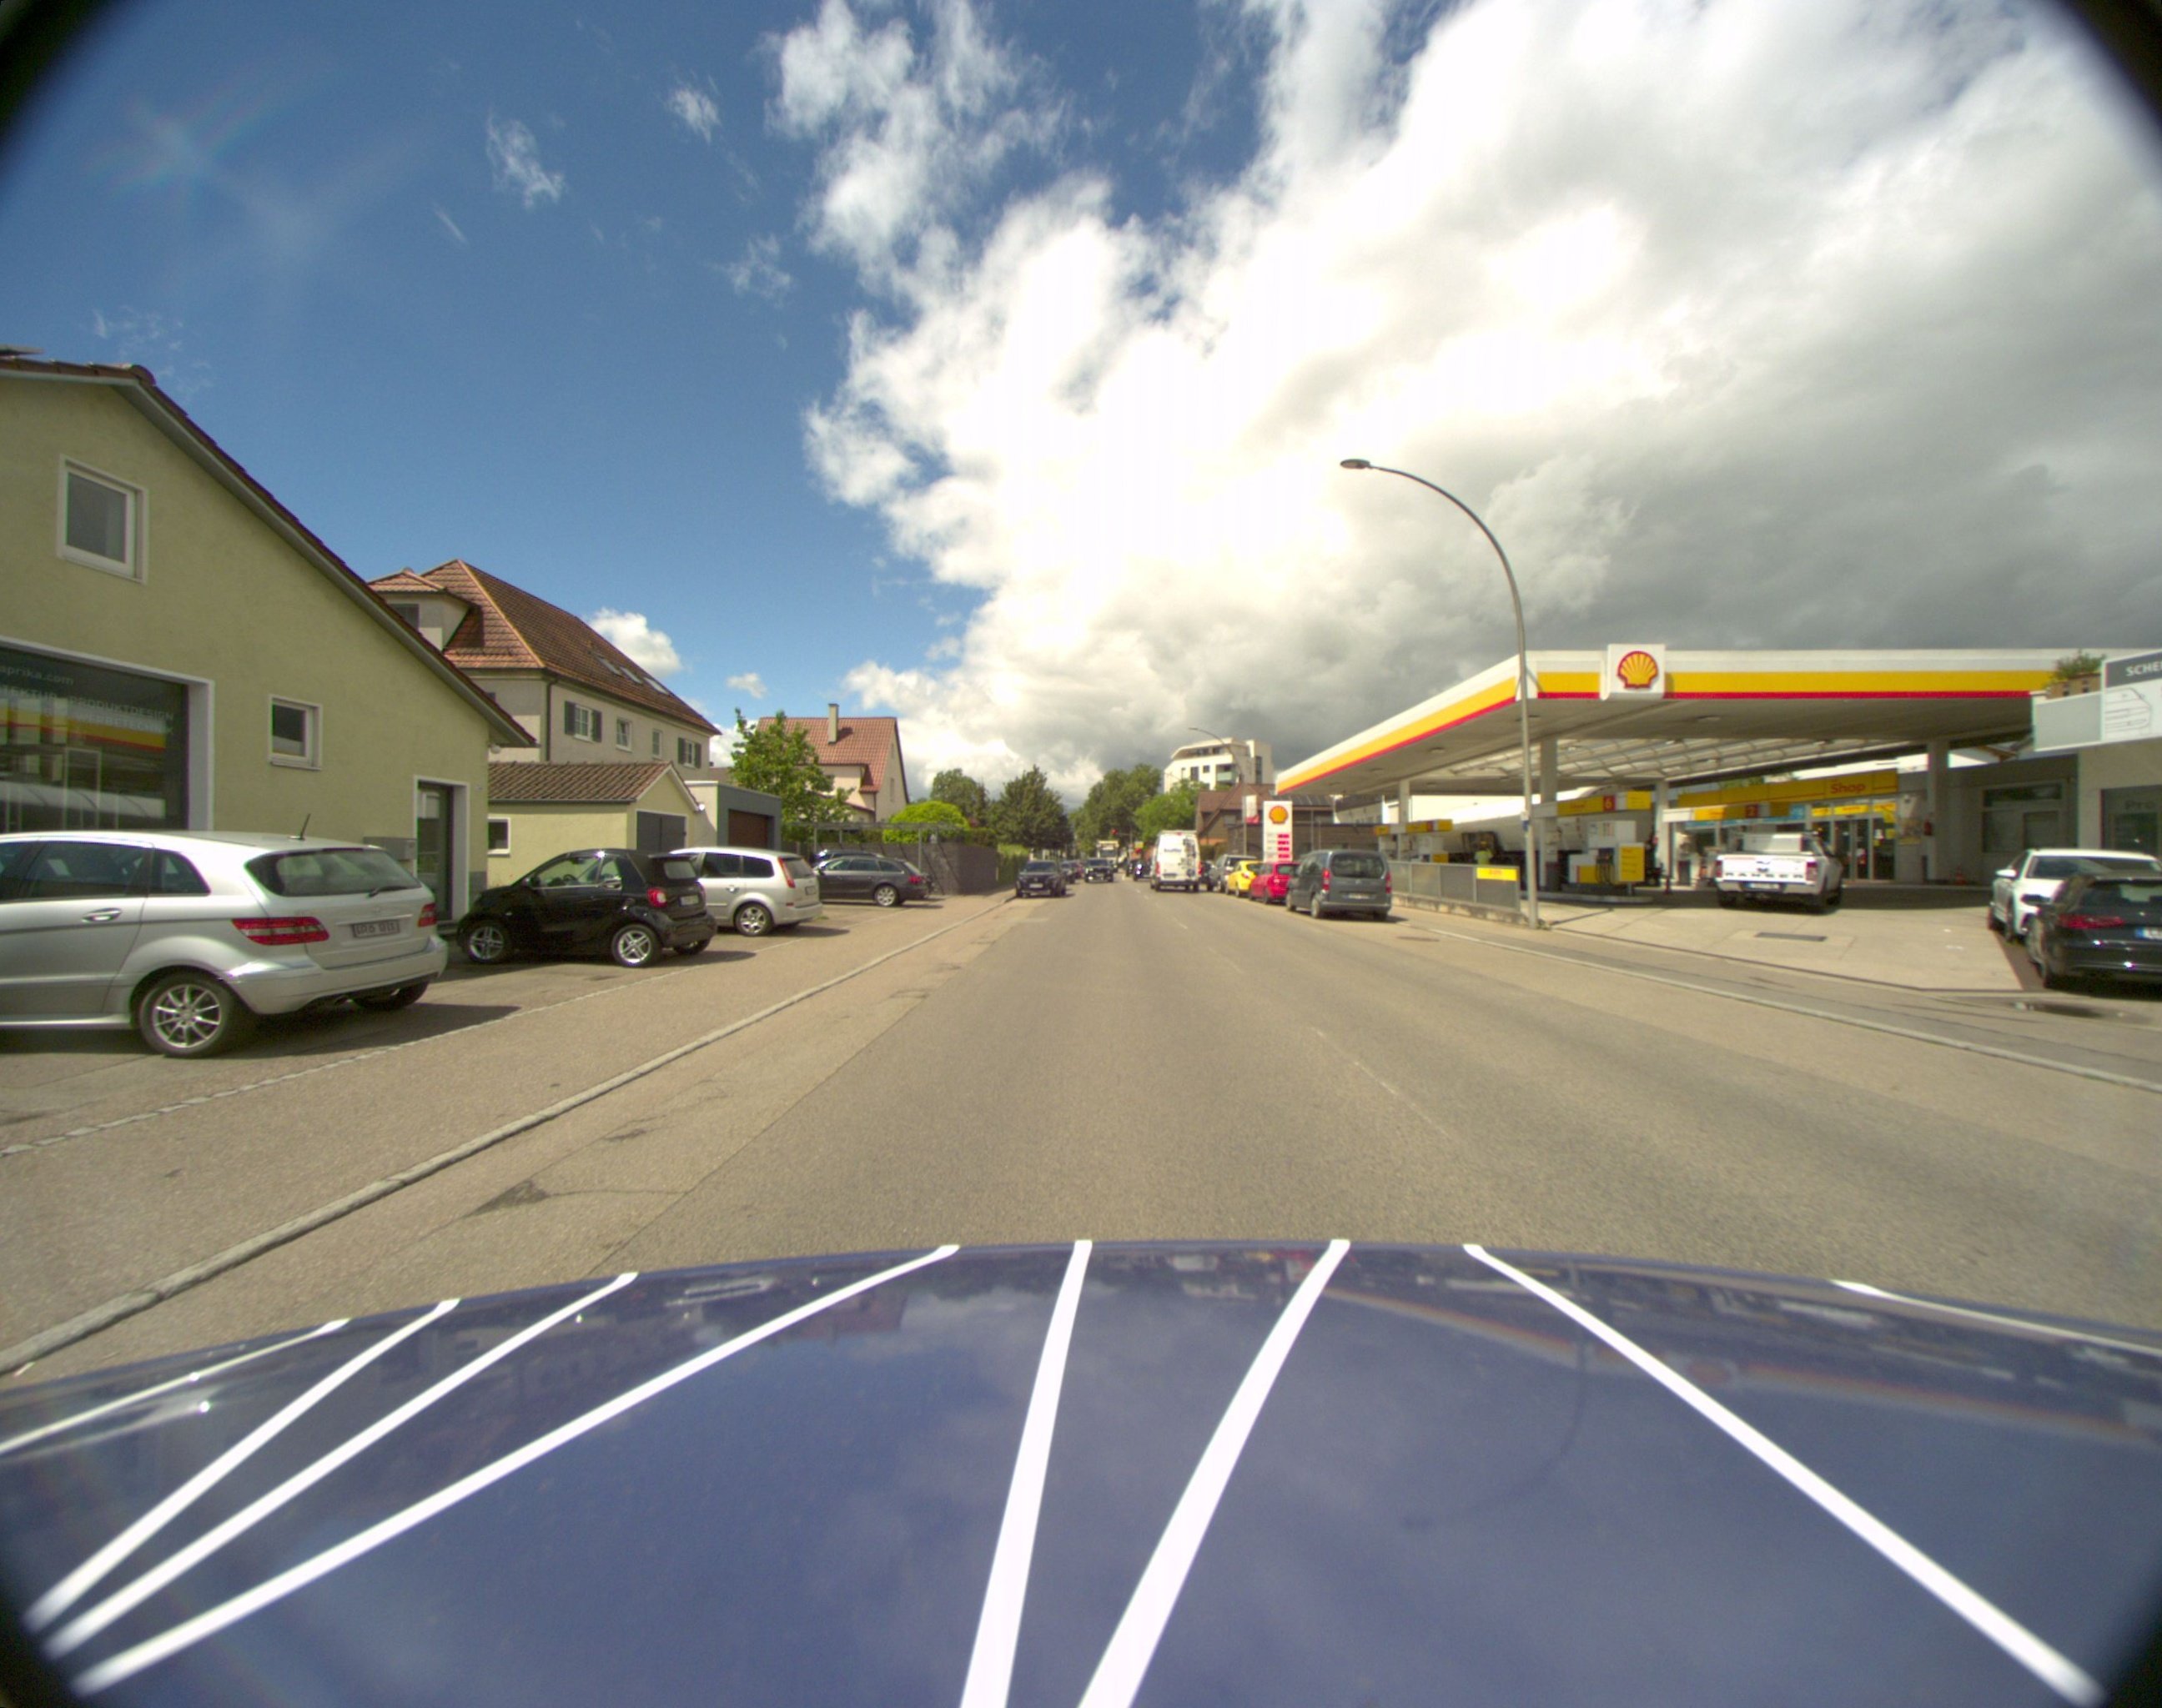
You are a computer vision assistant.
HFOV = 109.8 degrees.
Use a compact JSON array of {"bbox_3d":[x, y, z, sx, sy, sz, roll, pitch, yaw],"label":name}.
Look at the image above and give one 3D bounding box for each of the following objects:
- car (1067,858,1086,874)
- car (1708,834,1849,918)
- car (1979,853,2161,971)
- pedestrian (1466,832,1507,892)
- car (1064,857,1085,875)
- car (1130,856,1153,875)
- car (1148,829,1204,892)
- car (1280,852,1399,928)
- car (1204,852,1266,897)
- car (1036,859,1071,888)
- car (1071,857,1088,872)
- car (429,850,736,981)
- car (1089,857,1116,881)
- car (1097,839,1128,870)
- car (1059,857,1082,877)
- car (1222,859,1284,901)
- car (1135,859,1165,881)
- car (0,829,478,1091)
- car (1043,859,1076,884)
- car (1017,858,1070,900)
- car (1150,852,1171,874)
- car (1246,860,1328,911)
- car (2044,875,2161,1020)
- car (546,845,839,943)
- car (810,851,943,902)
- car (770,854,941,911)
[{"bbox_3d":[-0.437,1.167,75.381,1.789,1.555,3.880,-1,0,2],"label":"car"},{"bbox_3d":[17.378,0.461,18.840,4.993,1.841,1.970,-1,0,-40],"label":"car"},{"bbox_3d":[17.294,0.874,13.098,4.422,1.603,1.969,-1,4,-44],"label":"car"},{"bbox_3d":[15.211,0.287,28.530,0.940,2.166,1.012,-2,1,0],"label":"pedestrian"},{"bbox_3d":[-0.573,1.100,70.449,1.789,1.555,3.880,-1,0,2],"label":"car"},{"bbox_3d":[5.586,1.069,70.638,2.063,1.700,4.535,-1,0,3],"label":"car"},{"bbox_3d":[4.479,0.295,36.649,1.997,2.749,6.164,1,0,1],"label":"car"},{"bbox_3d":[6.739,0.869,20.297,1.733,1.727,4.190,4,0,1],"label":"car"},{"bbox_3d":[7.092,0.881,35.352,1.789,1.857,4.315,3,0,-2],"label":"car"},{"bbox_3d":[-1.415,0.992,39.802,1.575,1.423,3.549,0,0,2],"label":"car"},{"bbox_3d":[-0.188,1.189,85.343,1.789,1.555,3.880,-1,0,2],"label":"car"},{"bbox_3d":[-6.702,0.776,10.530,2.895,1.516,1.974,3,0,-2],"label":"car"},{"bbox_3d":[1.460,0.989,51.540,1.789,1.555,3.880,-1,0,2],"label":"car"},{"bbox_3d":[3.786,0.056,93.069,3.262,3.596,10.268,-1,0,0],"label":"car"},{"bbox_3d":[-0.892,1.108,65.410,1.789,1.555,3.880,-1,0,2],"label":"car"},{"bbox_3d":[6.932,0.995,30.920,1.666,1.506,3.946,4,0,2],"label":"car"},{"bbox_3d":[4.842,1.122,53.841,1.852,1.465,3.981,1,0,1],"label":"car"},{"bbox_3d":[-7.795,0.672,5.980,4.418,1.599,1.974,3,0,-2],"label":"car"},{"bbox_3d":[-1.340,1.071,48.320,1.788,1.435,3.772,-1,0,2],"label":"car"},{"bbox_3d":[-1.479,0.983,31.715,1.788,1.548,4.317,-1,0,2],"label":"car"},{"bbox_3d":[8.300,0.956,79.304,1.789,2.165,4.537,-1,-2,1],"label":"car"},{"bbox_3d":[6.941,1.011,26.070,1.666,1.506,4.190,4,0,1],"label":"car"},{"bbox_3d":[12.997,0.998,7.460,1.802,1.481,4.326,0,0,-40],"label":"car"},{"bbox_3d":[-7.104,0.707,14.285,4.418,1.516,1.974,3,0,-2],"label":"car"},{"bbox_3d":[-6.854,0.740,25.827,4.013,1.605,1.854,1,0,-1],"label":"car"},{"bbox_3d":[-6.525,0.803,22.386,4.418,1.399,1.974,3,0,-2],"label":"car"}]
